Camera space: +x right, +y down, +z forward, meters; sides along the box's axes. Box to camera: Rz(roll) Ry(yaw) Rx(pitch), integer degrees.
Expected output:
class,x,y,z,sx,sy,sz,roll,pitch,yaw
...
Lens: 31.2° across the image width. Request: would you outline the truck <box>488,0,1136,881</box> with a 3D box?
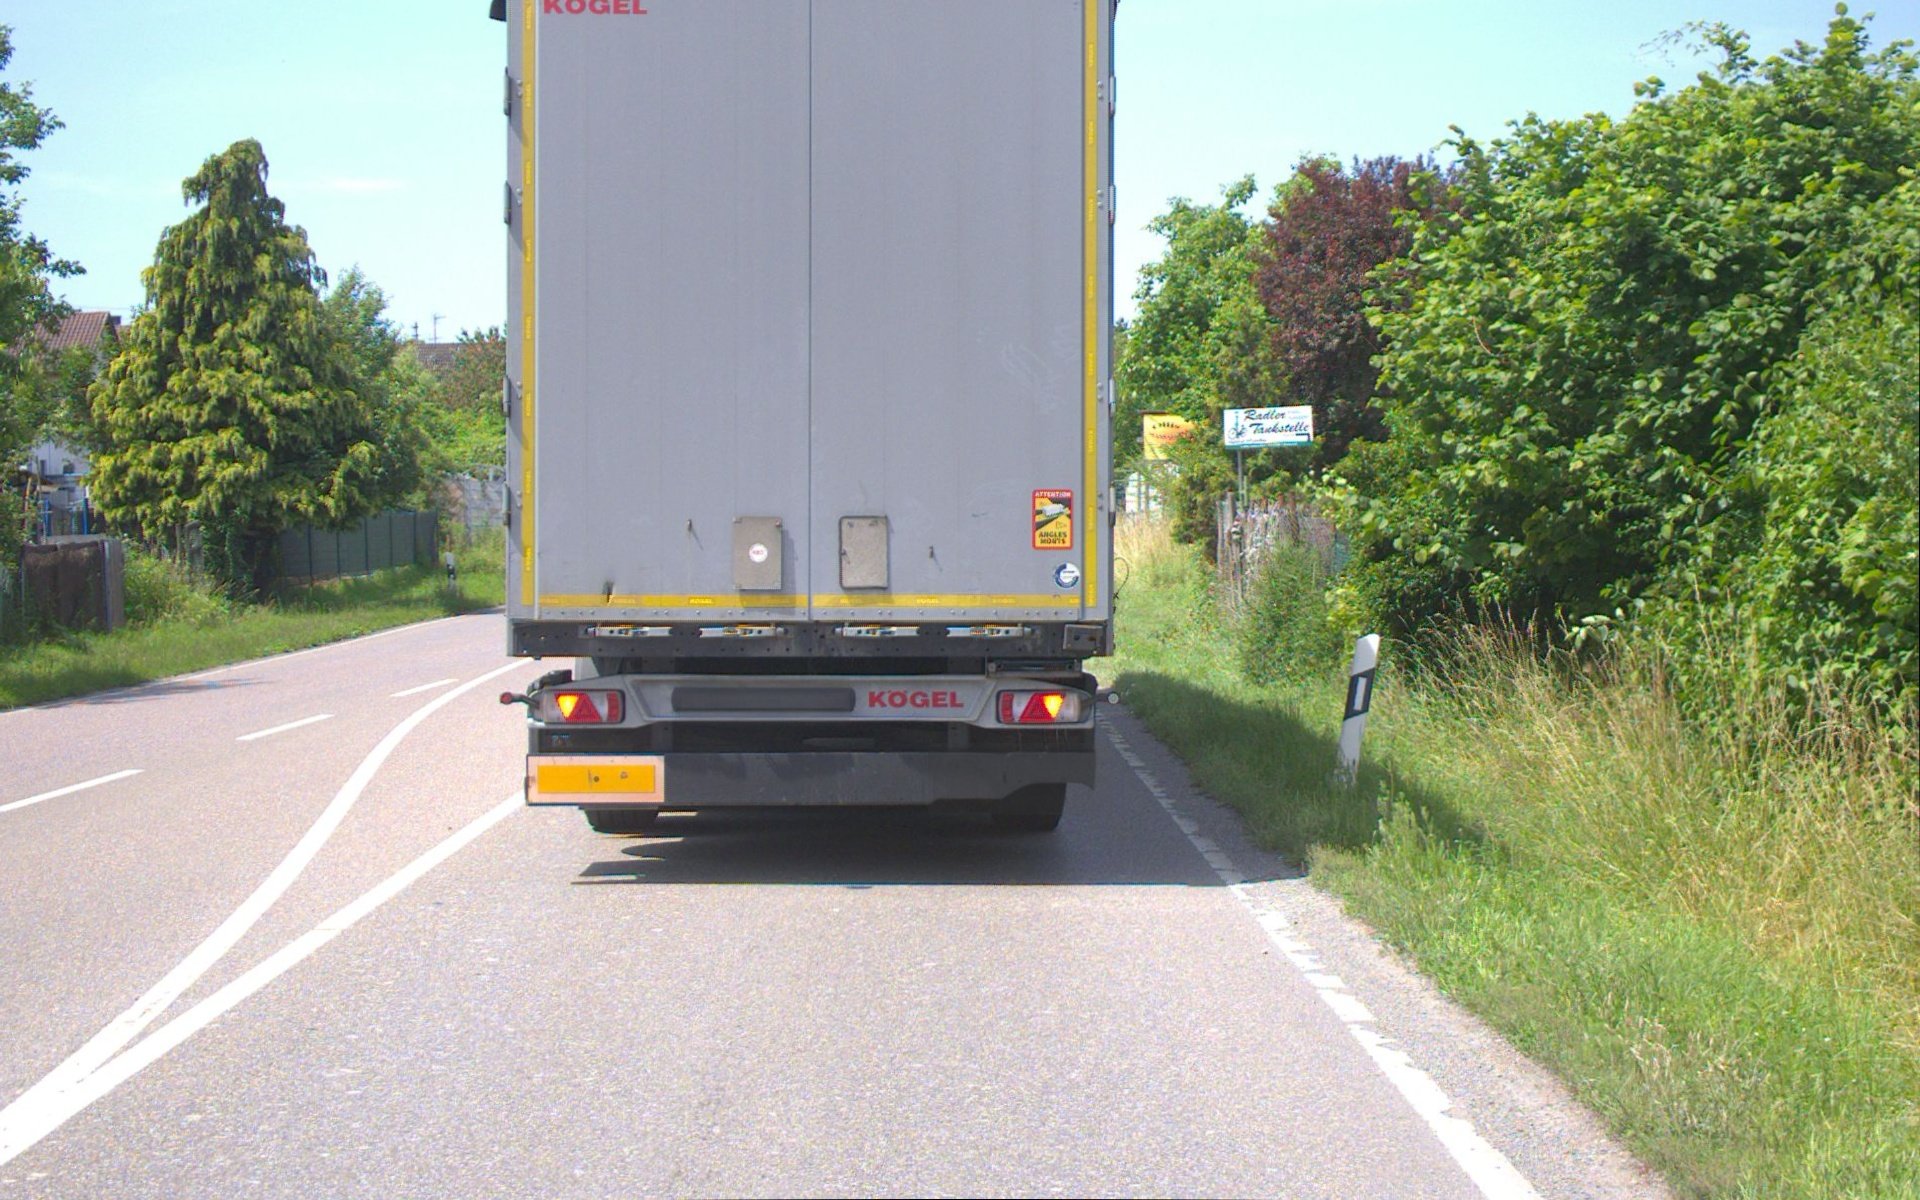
class,x,y,z,sx,sy,sz,roll,pitch,yaw
truck,-0.756,-0.890,18.566,2.647,3.903,8.826,0,1,-2
